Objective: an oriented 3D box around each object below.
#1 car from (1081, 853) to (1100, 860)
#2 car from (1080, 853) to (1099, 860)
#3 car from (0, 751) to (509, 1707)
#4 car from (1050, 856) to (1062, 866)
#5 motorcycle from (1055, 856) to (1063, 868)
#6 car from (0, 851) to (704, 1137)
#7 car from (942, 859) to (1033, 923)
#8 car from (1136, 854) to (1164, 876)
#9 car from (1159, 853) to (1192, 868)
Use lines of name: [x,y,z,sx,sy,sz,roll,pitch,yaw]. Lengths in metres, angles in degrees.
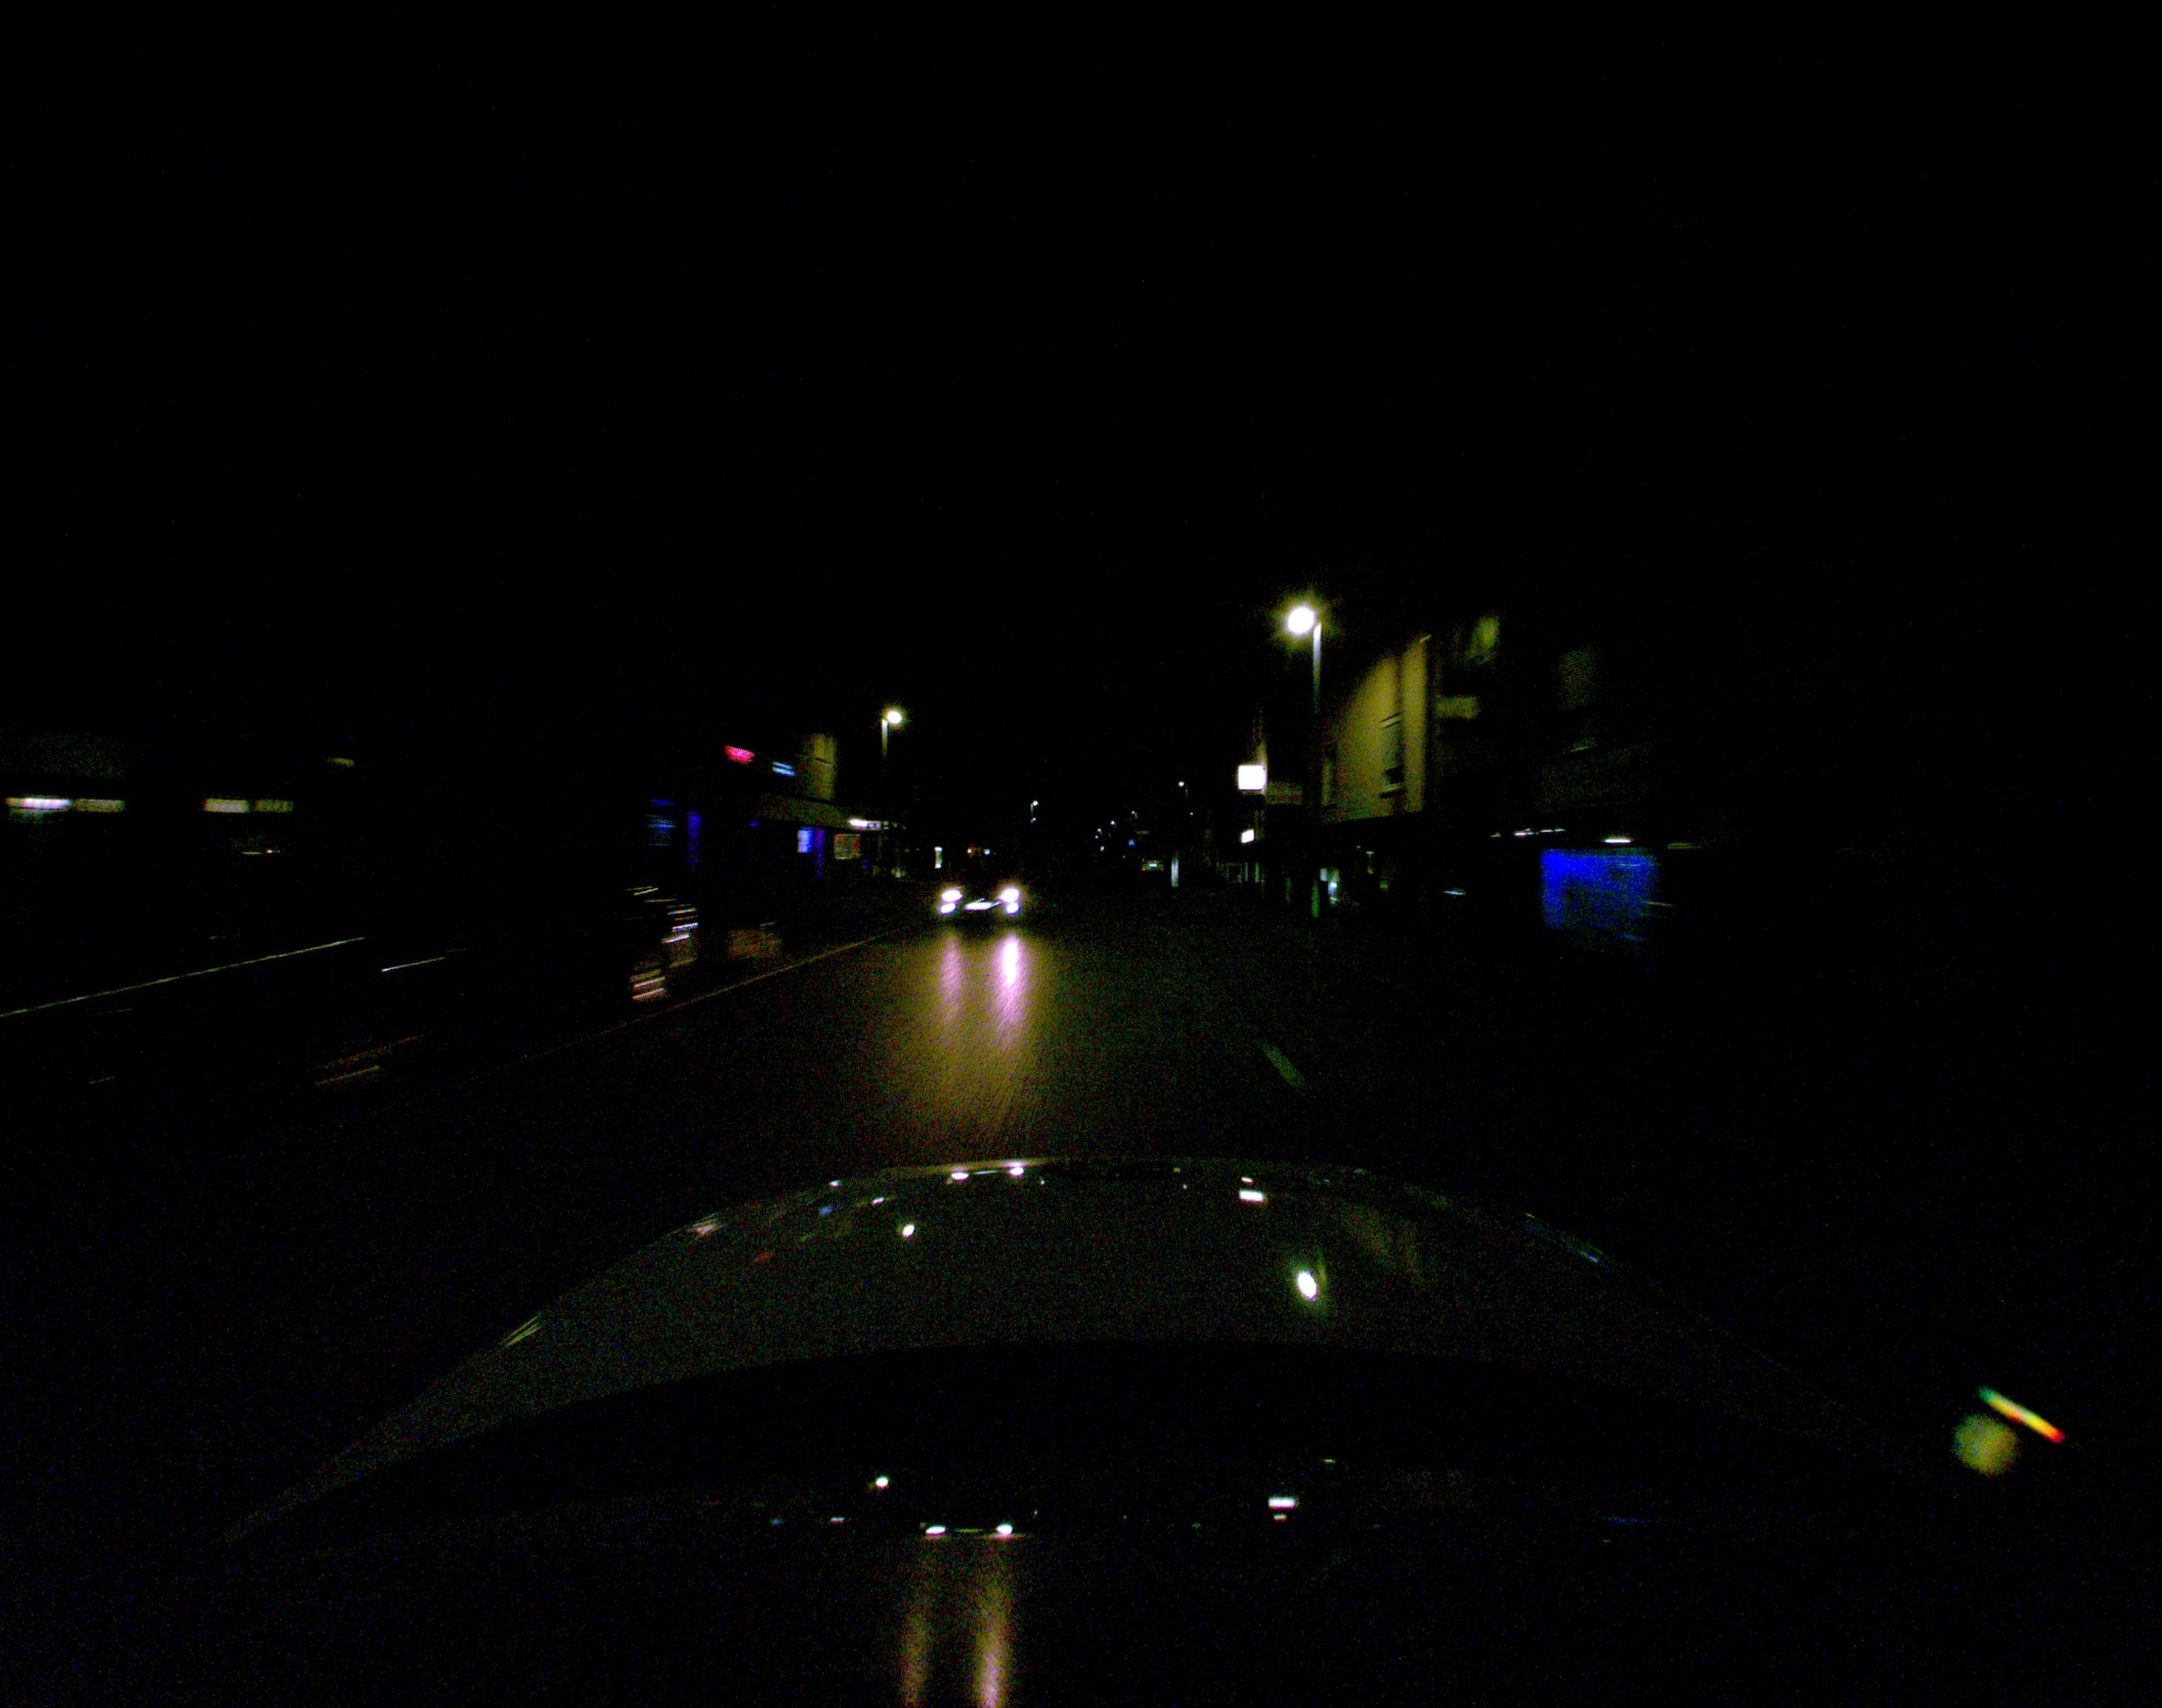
car: [2.673,0.672,232.500,5.171,2.013,2.099,-1,0,-4]
car: [2.504,0.683,229.427,5.171,2.013,2.099,-1,0,-4]
car: [-2.709,0.653,0.400,1.741,1.645,4.308,0,0,1]
car: [-3.790,1.029,123.788,1.683,1.510,4.276,0,0,-1]
motorcycle: [-2.806,1.004,104.694,0.742,1.452,2.199,0,0,7]
car: [-5.249,0.727,6.664,1.889,1.419,4.931,2,0,1]
car: [-2.223,0.852,20.305,1.710,1.428,3.817,0,0,1]
car: [5.049,0.814,60.096,1.737,1.569,4.207,-1,0,0]
car: [10.800,0.703,93.427,3.497,1.525,1.819,-3,0,-3]
